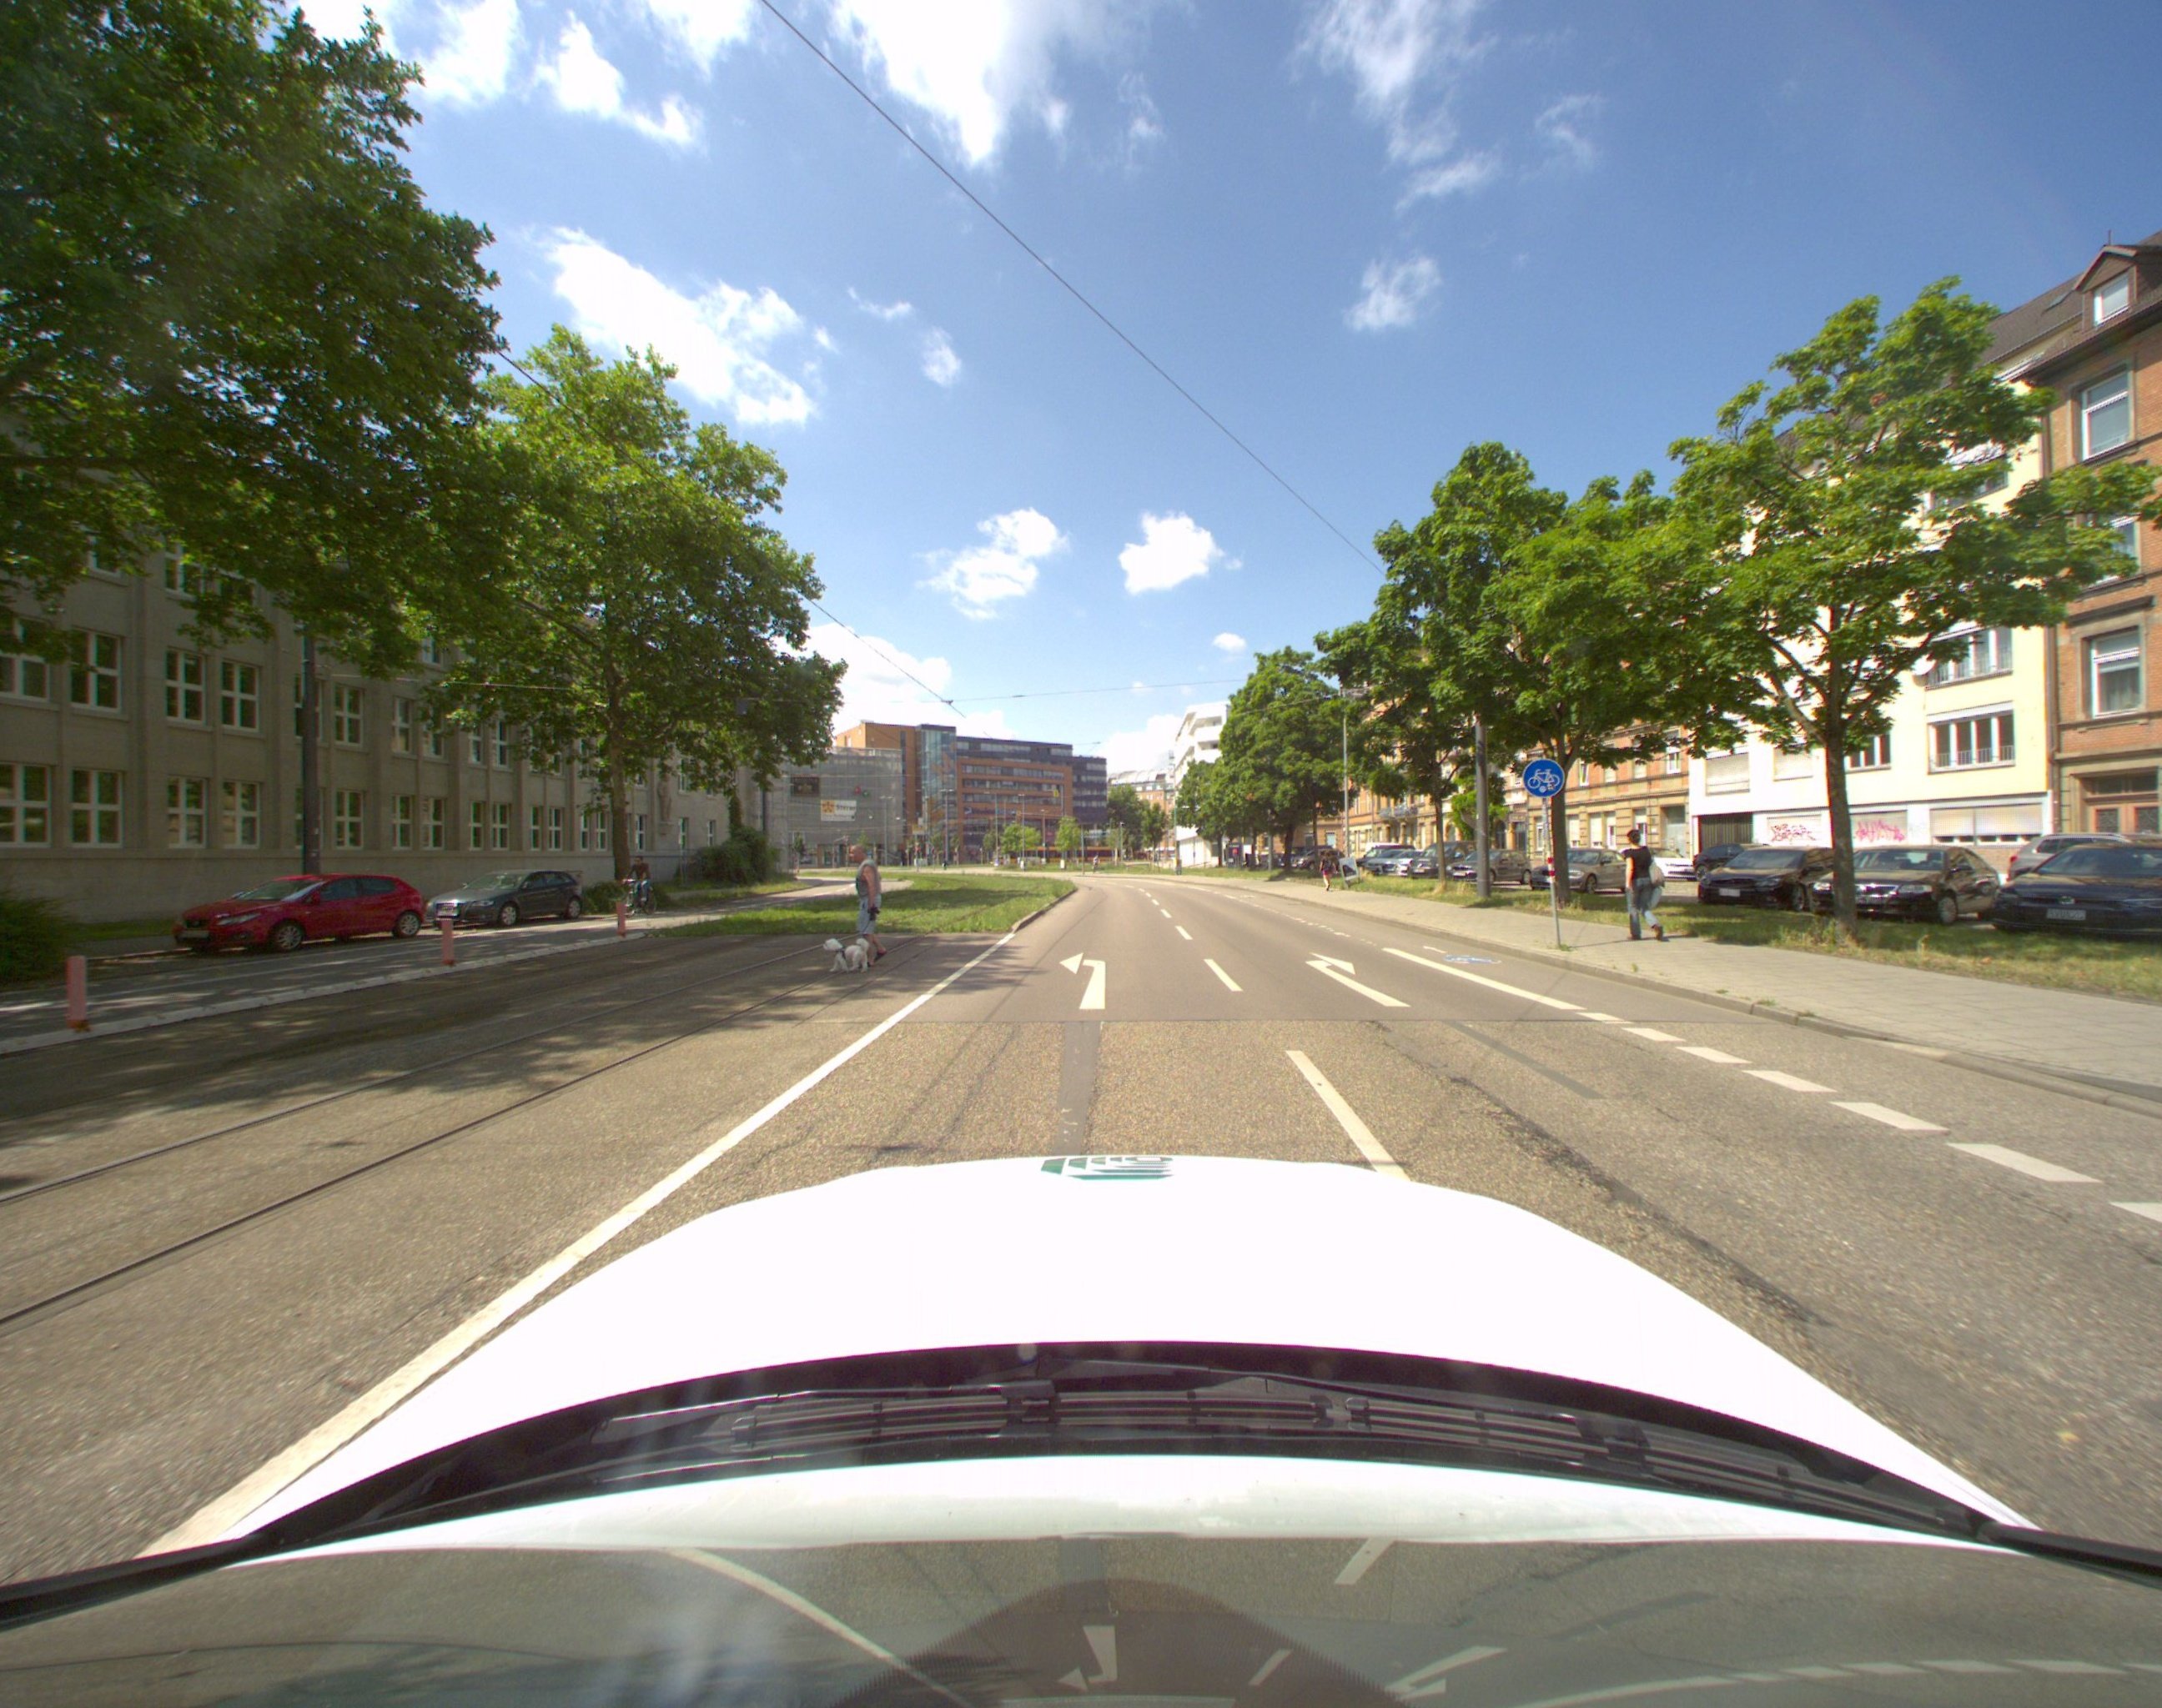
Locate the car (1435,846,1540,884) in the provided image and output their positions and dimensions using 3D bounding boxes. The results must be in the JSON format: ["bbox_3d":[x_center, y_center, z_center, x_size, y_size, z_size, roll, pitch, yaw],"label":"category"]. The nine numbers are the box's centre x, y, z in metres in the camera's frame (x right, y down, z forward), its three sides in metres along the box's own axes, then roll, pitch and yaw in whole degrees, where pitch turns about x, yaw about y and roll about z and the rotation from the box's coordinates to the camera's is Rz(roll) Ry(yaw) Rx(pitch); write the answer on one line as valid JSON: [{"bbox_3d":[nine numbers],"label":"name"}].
[{"bbox_3d":[16.027,0.432,32.037,4.286,1.380,1.833,1,-1,-34],"label":"car"}]

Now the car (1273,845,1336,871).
[{"bbox_3d":[16.948,0.307,61.694,4.642,1.927,1.899,1,-1,-29],"label":"car"}]

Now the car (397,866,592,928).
[{"bbox_3d":[-15.146,1.042,21.377,1.919,1.369,4.318,1,0,1],"label":"car"}]

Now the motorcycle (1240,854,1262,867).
[{"bbox_3d":[14.701,0.562,70.404,1.777,1.167,0.640,-1,-1,0],"label":"motorcycle"}]

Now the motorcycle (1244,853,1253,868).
[{"bbox_3d":[13.779,0.545,66.888,0.633,1.167,1.914,-1,-1,15],"label":"motorcycle"}]

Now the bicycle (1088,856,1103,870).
[{"bbox_3d":[1.383,0.856,77.740,0.697,1.242,1.824,-3,1,-24],"label":"bicycle"}]

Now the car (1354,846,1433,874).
[{"bbox_3d":[16.510,0.314,42.954,4.100,1.405,1.833,1,-1,-33],"label":"car"}]

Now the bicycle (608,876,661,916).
[{"bbox_3d":[-13.231,1.215,24.215,0.791,1.110,2.266,1,-1,-14],"label":"bicycle"}]

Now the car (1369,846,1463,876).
[{"bbox_3d":[16.365,0.343,39.723,4.709,1.380,1.834,1,-1,-32],"label":"car"}]

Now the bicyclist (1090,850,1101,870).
[{"bbox_3d":[1.379,0.581,77.712,0.697,1.824,0.948,-3,0,-24],"label":"bicyclist"}]

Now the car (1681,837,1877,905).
[{"bbox_3d":[15.760,0.373,18.392,4.007,1.380,1.945,1,-1,-26],"label":"car"}]

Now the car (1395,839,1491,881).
[{"bbox_3d":[15.992,0.269,35.893,4.383,1.741,1.833,1,-1,-34],"label":"car"}]

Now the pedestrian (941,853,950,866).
[{"bbox_3d":[-19.475,0.784,117.215,0.907,1.702,0.813,-2,0,27],"label":"pedestrian"}]

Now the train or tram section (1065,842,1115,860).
[{"bbox_3d":[1.931,-0.558,170.846,3.026,3.621,12.713,0,-1,40],"label":"train or tram section"}]

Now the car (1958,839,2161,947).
[{"bbox_3d":[15.180,0.521,11.831,4.000,1.354,1.948,1,-1,-20],"label":"car"}]

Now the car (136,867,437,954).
[{"bbox_3d":[-15.549,1.022,16.324,1.918,1.420,4.053,1,0,3],"label":"car"}]

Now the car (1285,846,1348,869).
[{"bbox_3d":[16.968,0.269,58.656,4.180,1.656,1.901,1,-1,-25],"label":"car"}]

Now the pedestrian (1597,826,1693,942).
[{"bbox_3d":[8.832,0.446,12.797,0.698,1.704,1.045,-4,0,1],"label":"pedestrian"}]

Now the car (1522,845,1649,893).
[{"bbox_3d":[15.922,0.461,25.652,4.286,1.380,1.833,1,-1,-34],"label":"car"}]

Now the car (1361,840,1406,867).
[{"bbox_3d":[25.711,-0.025,69.523,2.102,2.179,5.397,0,-1,3],"label":"car"}]

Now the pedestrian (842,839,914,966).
[{"bbox_3d":[-2.817,0.661,11.365,0.777,1.704,0.703,0,-1,4],"label":"pedestrian"}]

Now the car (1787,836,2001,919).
[{"bbox_3d":[15.420,0.417,15.422,4.012,1.380,1.942,1,-1,-31],"label":"car"}]

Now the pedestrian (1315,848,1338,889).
[{"bbox_3d":[9.718,0.559,32.256,0.697,1.592,0.905,0,-1,1],"label":"pedestrian"}]

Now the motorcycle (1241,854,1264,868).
[{"bbox_3d":[14.675,0.558,69.685,1.777,1.167,0.640,-1,-1,0],"label":"motorcycle"}]

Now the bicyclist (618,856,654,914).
[{"bbox_3d":[-13.249,0.918,24.264,0.762,1.704,0.779,1,-1,-15],"label":"bicyclist"}]

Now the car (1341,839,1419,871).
[{"bbox_3d":[16.892,0.107,46.009,4.160,1.741,1.835,1,-1,-29],"label":"car"}]

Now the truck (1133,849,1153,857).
[{"bbox_3d":[17.359,-0.207,226.943,5.453,2.086,2.012,0,-1,43],"label":"truck"}]

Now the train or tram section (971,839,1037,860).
[{"bbox_3d":[-14.364,-0.793,152.727,3.186,3.599,13.580,-1,-1,43],"label":"train or tram section"}]

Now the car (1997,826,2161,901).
[{"bbox_3d":[24.372,0.227,18.676,1.824,1.615,4.498,0,-1,3],"label":"car"}]

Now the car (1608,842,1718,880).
[{"bbox_3d":[24.434,0.298,34.396,1.824,1.492,4.230,0,-1,3],"label":"car"}]

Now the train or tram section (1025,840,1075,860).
[{"bbox_3d":[-6.022,-0.729,161.792,3.026,3.603,11.060,0,-1,41],"label":"train or tram section"}]
